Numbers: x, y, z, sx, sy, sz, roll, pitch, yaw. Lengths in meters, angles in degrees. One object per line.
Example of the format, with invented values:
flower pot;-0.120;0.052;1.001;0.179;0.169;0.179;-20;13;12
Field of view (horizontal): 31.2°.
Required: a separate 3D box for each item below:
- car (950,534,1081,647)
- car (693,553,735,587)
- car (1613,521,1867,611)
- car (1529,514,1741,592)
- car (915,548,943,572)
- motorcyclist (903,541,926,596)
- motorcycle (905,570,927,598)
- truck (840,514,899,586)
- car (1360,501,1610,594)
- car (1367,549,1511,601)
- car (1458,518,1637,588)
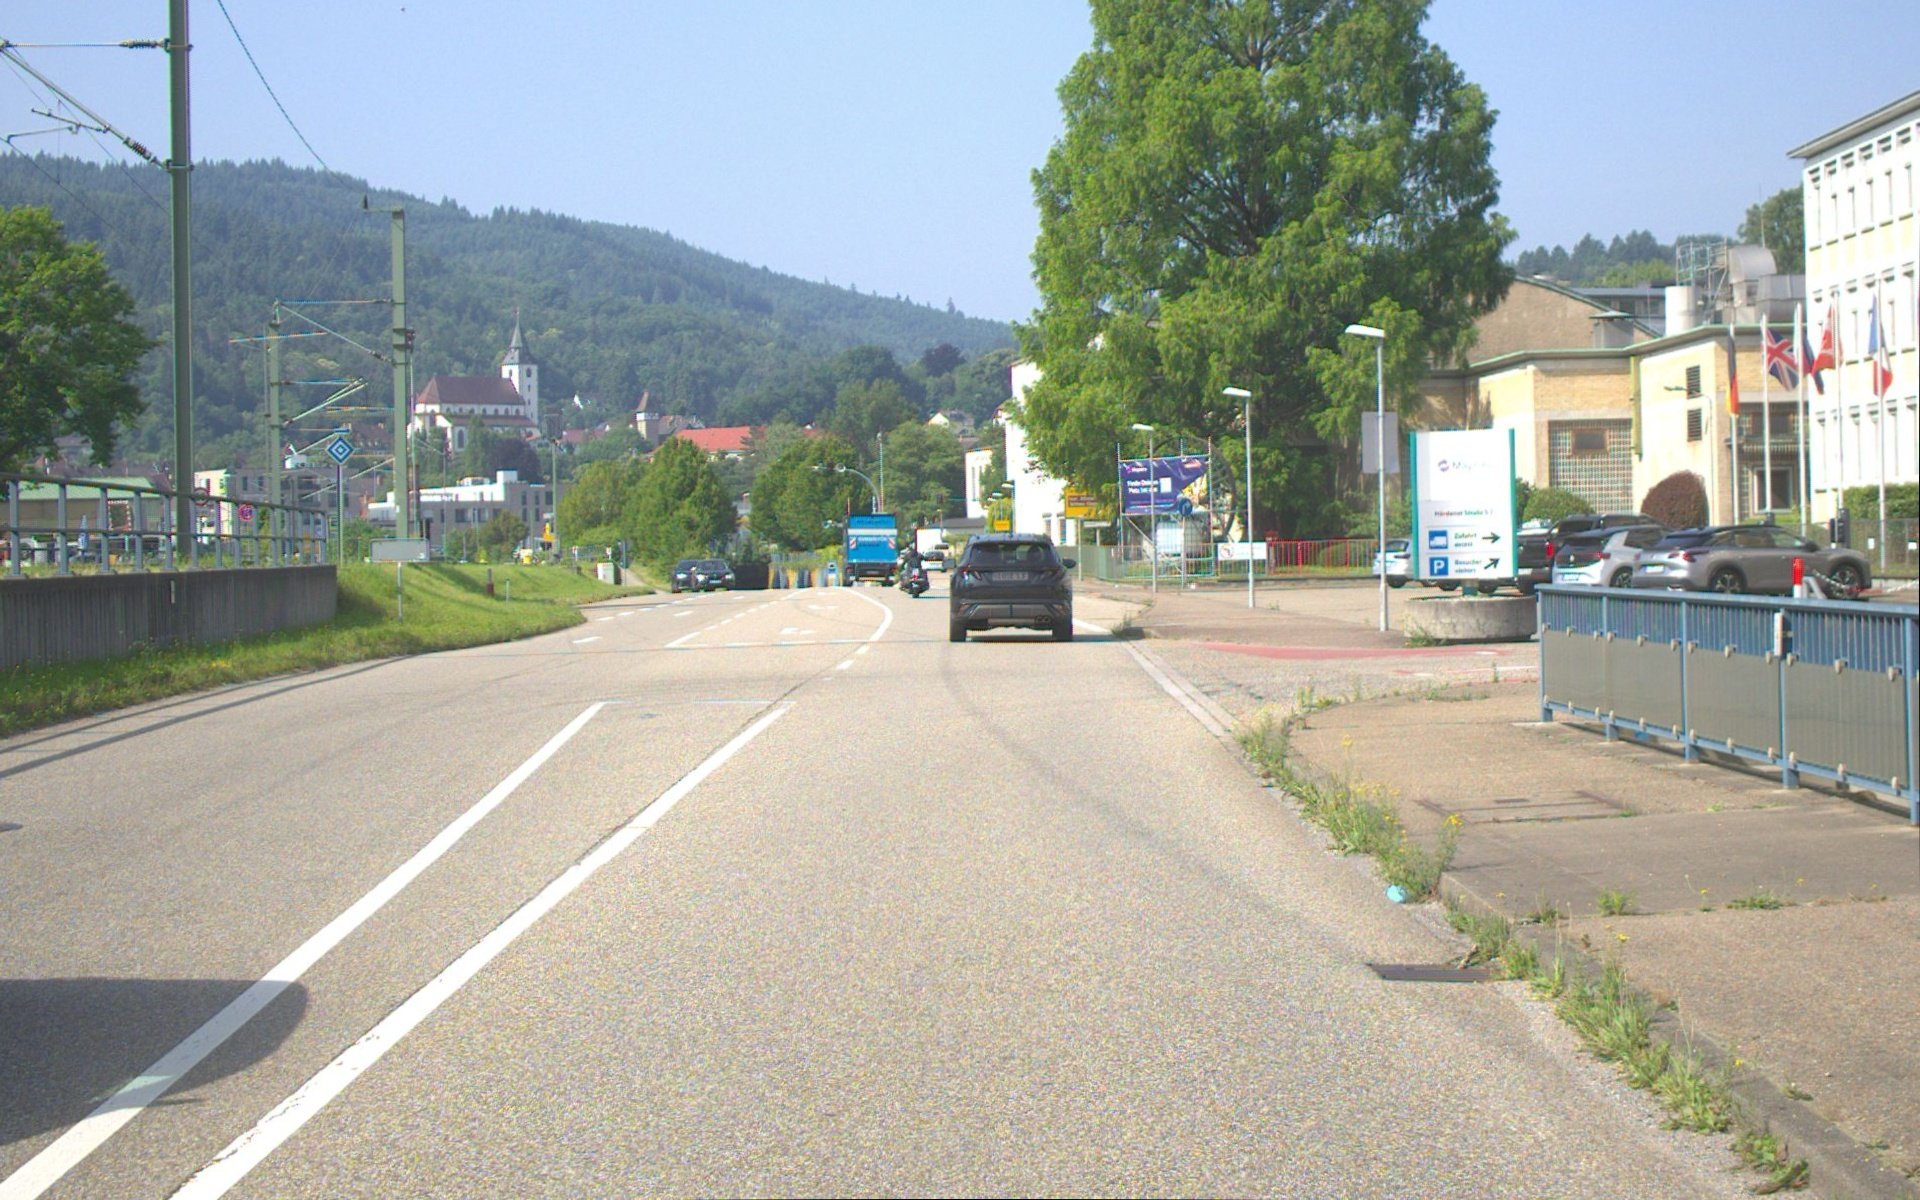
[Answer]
car;0.853;-0.179;53.056;1.919;1.634;4.000;-1;1;1
car;-10.770;-1.340;150.607;1.755;1.424;4.001;-1;1;-3
car;14.190;-0.630;62.507;4.297;1.499;1.886;-2;1;-29
car;13.957;-0.983;71.039;3.987;1.499;1.886;-2;1;-29
car;-1.997;-2.564;221.566;1.767;1.481;4.000;0;0;1
motorcyclist;-1.277;-0.890;96.810;0.606;1.515;0.863;-1;1;-1
motorcycle;-1.234;-0.449;96.854;0.606;0.751;1.415;-1;1;-1
truck;-3.927;-2.180;147.789;2.312;2.960;5.967;-1;1;-3
car;11.093;-1.120;72.553;5.020;1.826;1.983;-2;1;-29
car;13.902;-0.739;99.748;3.987;1.396;1.664;-2;1;-31
car;14.712;-1.174;86.062;4.159;1.666;1.870;-2;1;-30
